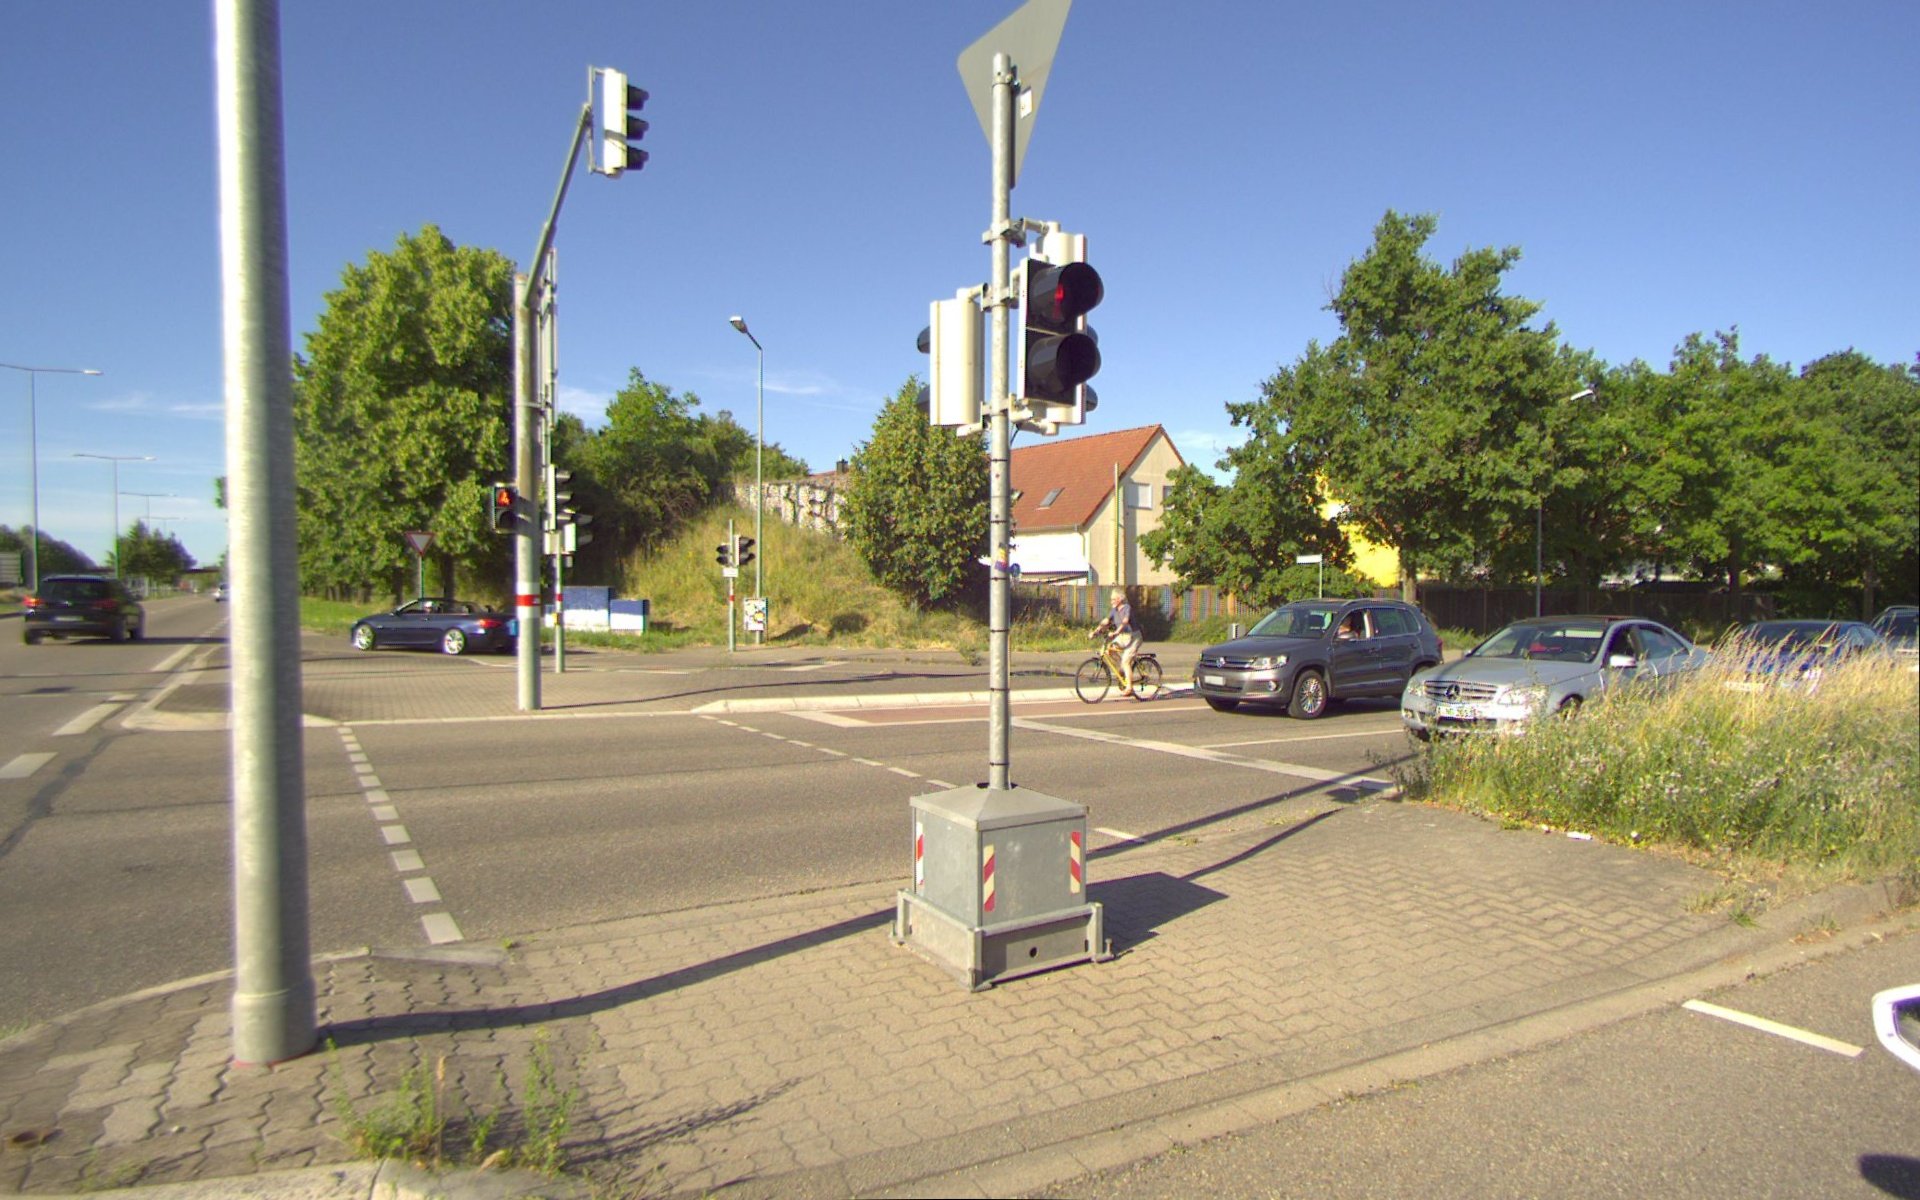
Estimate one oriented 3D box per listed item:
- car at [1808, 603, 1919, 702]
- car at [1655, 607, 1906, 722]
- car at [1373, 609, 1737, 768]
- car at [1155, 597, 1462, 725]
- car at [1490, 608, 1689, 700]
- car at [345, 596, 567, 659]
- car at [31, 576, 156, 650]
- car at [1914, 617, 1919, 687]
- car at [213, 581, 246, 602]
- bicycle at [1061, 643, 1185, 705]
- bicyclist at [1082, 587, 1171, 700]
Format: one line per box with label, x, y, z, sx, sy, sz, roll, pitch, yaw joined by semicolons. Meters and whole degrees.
car;17.680;0.891;18.424;4.479;1.638;1.983;0;0;-32
car;12.368;0.869;15.107;3.843;1.503;1.738;0;0;-31
car;7.052;0.887;11.792;4.478;1.526;1.784;0;0;-31
car;5.291;0.792;15.117;4.478;1.666;1.983;0;0;-31
car;11.637;0.917;18.528;3.670;1.503;1.637;0;0;-31
car;-12.251;0.649;24.522;4.588;1.327;2.049;1;0;13
car;-21.713;0.258;25.317;1.813;1.649;3.963;-1;3;-33
car;22.482;1.089;21.491;4.349;1.470;1.983;0;0;-32
car;-59.127;-0.695;81.327;2.028;1.638;4.372;-3;2;-36
bicycle;2.617;1.155;16.069;1.968;0.859;0.745;0;1;-32
bicyclist;2.672;0.669;16.099;1.228;1.725;0.740;0;1;-32
